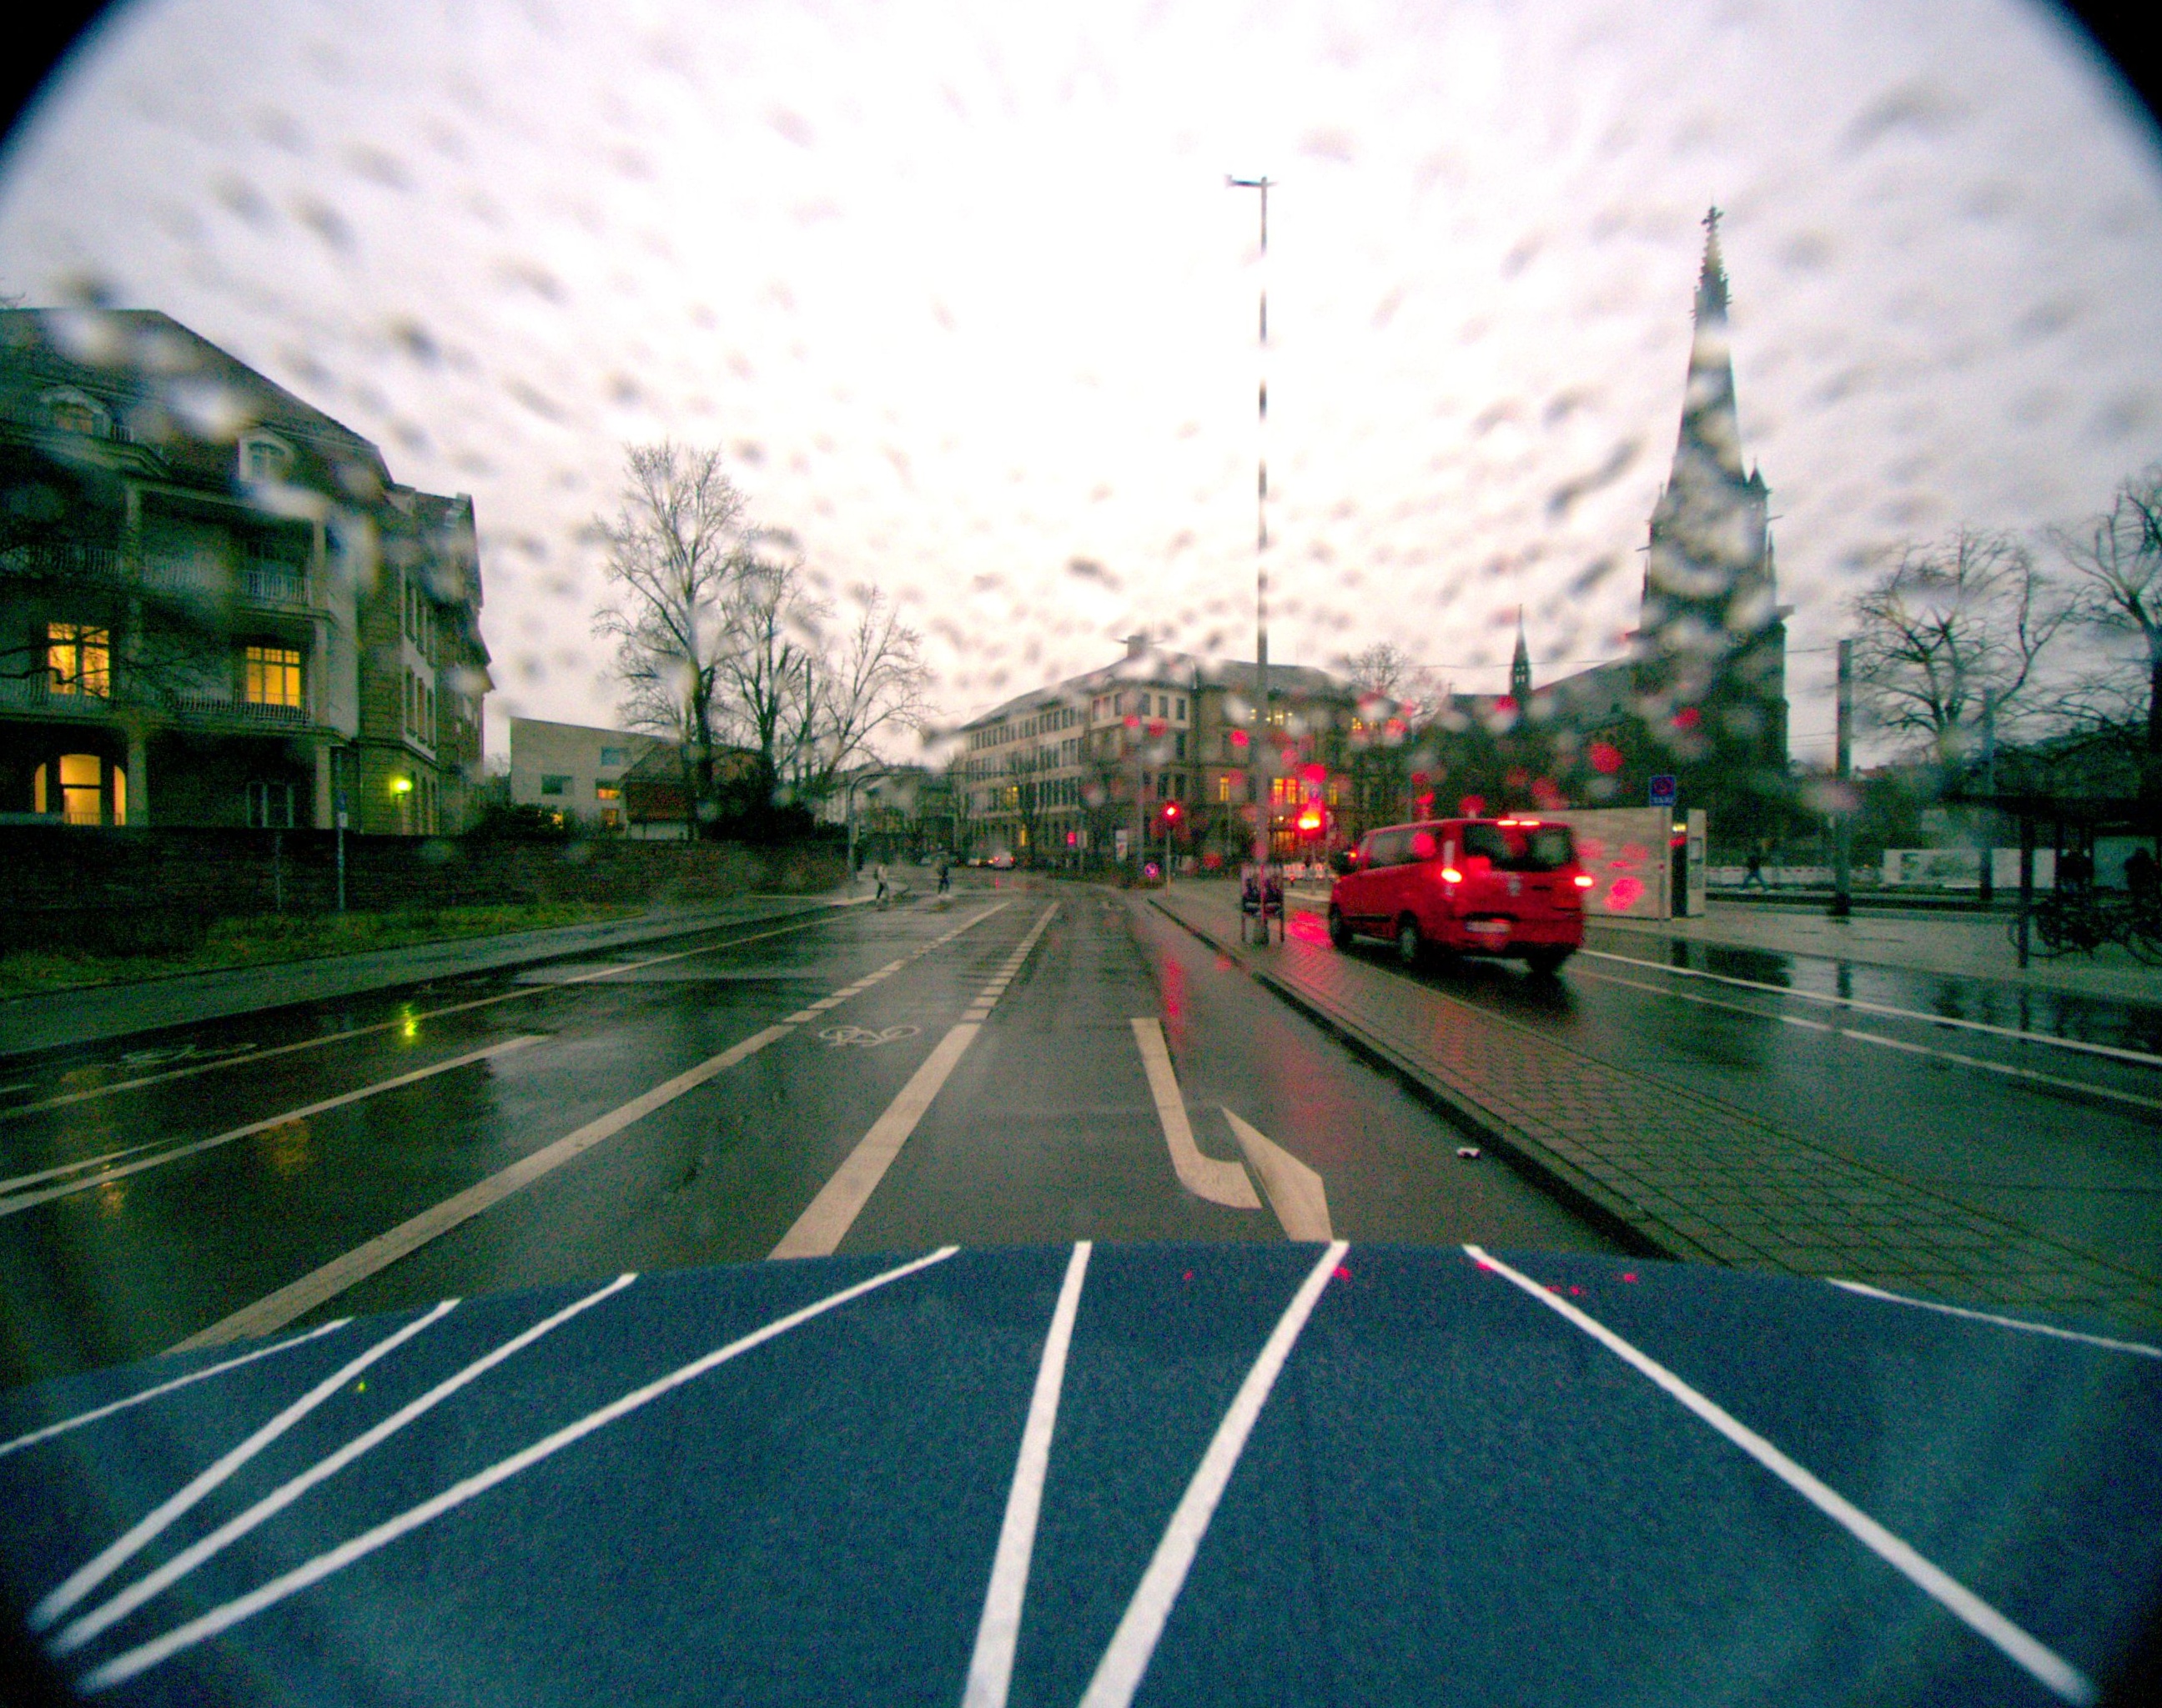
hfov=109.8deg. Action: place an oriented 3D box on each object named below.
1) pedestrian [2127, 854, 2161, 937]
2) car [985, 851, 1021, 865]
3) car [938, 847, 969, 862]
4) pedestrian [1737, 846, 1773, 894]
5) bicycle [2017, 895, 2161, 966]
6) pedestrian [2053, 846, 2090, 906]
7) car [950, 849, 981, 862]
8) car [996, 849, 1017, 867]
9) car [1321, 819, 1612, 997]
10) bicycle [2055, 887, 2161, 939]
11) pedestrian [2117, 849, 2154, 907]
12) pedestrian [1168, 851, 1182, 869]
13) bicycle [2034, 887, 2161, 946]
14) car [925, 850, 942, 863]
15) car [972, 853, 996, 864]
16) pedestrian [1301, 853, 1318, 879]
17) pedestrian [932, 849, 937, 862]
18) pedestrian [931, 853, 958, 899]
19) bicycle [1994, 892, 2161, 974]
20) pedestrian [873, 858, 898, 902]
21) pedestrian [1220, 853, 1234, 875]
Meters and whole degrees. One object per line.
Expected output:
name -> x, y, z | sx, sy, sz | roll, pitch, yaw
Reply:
pedestrian -> 23.272, 0.874, 16.177 | 1.013, 1.754, 1.065 | 1, 0, -30
car -> -9.279, 0.484, 90.526 | 1.797, 1.541, 4.007 | -1, 1, 45
car -> -16.994, 0.078, 101.462 | 2.043, 1.889, 4.007 | -2, 1, 28
pedestrian -> 25.560, 0.607, 28.819 | 0.671, 1.785, 0.825 | -3, 1, -33
bicycle -> 16.610, 1.220, 12.203 | 0.475, 0.980, 1.921 | -2, 2, -30
pedestrian -> 30.229, 0.651, 23.201 | 0.673, 1.785, 0.626 | -3, 2, -41
car -> -15.090, 0.202, 99.396 | 1.797, 1.541, 4.007 | -2, 1, 28
car -> -8.209, 0.419, 83.130 | 1.884, 1.835, 3.996 | -2, 1, -11
car -> 5.260, 0.631, 11.248 | 1.928, 2.058, 4.644 | 1, 0, 0
bicycle -> 20.840, 1.168, 15.004 | 0.475, 0.905, 1.921 | -2, 2, -30
pedestrian -> 31.042, 0.700, 22.372 | 0.541, 1.642, 0.562 | -3, 2, -41
pedestrian -> 8.912, 0.555, 71.927 | 0.829, 1.714, 0.926 | 0, 0, -37
bicycle -> 19.685, 1.175, 14.415 | 0.475, 0.980, 1.921 | -2, 2, -30
car -> -20.734, 0.373, 106.837 | 2.000, 1.660, 3.997 | -2, 1, -7
car -> -12.134, 0.578, 95.298 | 1.706, 1.298, 3.647 | -2, 1, 16
pedestrian -> 17.216, 0.879, 57.155 | 0.675, 1.890, 0.971 | 0, 1, -35
pedestrian -> -22.138, 0.200, 114.608 | 0.476, 2.002, 0.546 | 0, 1, -34
pedestrian -> -5.677, 0.922, 31.606 | 0.999, 1.890, 0.674 | 1, 1, -5
bicycle -> 15.491, 1.186, 11.599 | 0.475, 1.064, 1.921 | -2, 2, -30
pedestrian -> -7.718, 1.029, 30.023 | 0.798, 1.713, 0.674 | 1, 1, 0
pedestrian -> 12.051, 0.797, 62.732 | 0.675, 1.806, 0.895 | 0, 2, -42
